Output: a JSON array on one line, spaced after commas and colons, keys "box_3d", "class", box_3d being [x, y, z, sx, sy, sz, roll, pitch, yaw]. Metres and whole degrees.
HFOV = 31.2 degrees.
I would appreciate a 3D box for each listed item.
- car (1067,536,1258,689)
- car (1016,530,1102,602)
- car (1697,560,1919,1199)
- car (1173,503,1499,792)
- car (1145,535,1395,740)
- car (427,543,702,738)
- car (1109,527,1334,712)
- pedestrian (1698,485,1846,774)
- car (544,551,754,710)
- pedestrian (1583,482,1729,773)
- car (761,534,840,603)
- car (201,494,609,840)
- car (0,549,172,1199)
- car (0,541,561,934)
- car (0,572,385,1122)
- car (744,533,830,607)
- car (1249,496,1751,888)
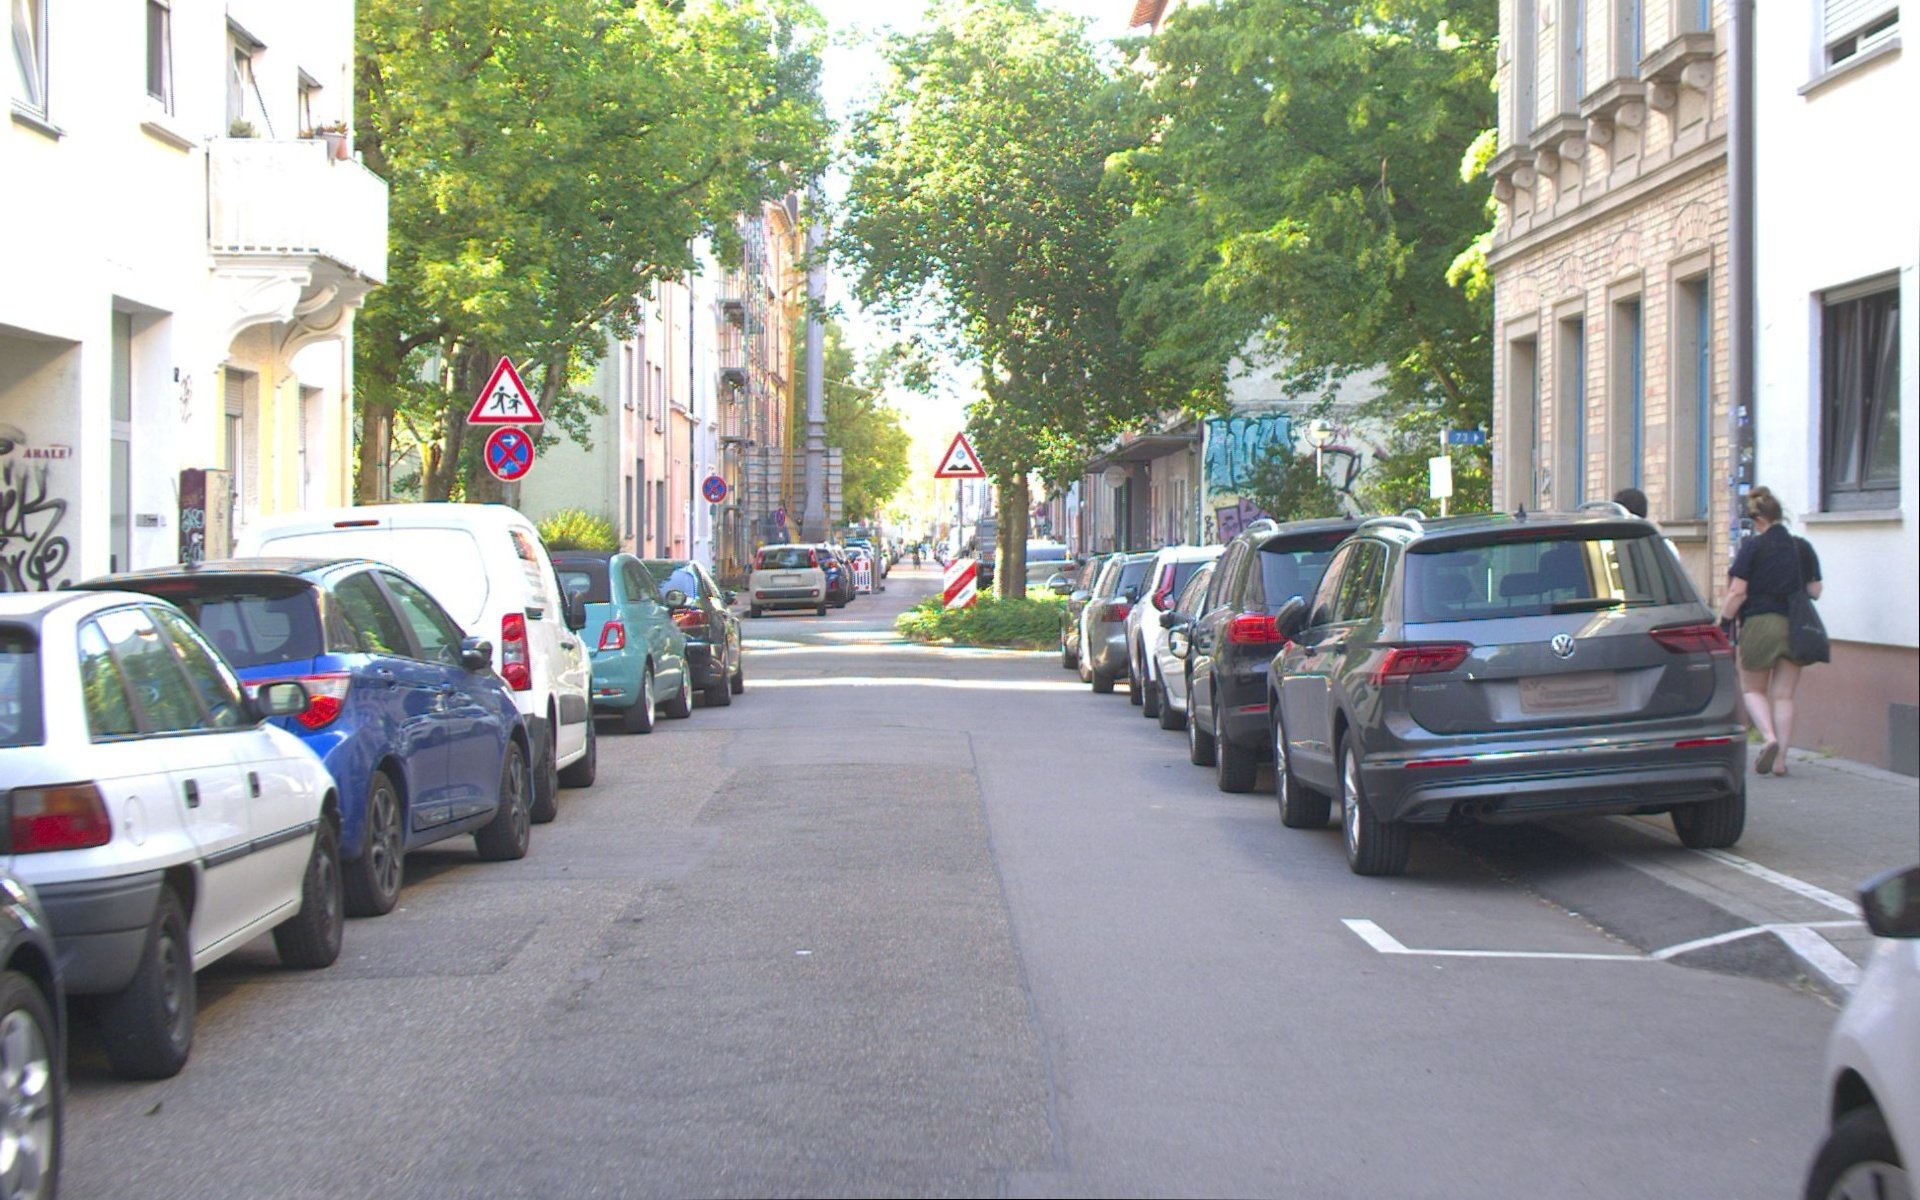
[{"box_3d": [2.100, 0.086, 36.589, 1.676, 1.482, 4.095, -2, 1, -1], "class": "car"}, {"box_3d": [2.152, -0.769, 75.486, 1.676, 1.482, 3.638, -2, 1, -1], "class": "car"}, {"box_3d": [2.388, 0.702, 5.018, 1.676, 1.501, 3.938, -2, 1, -1], "class": "car"}, {"box_3d": [2.361, 0.268, 22.461, 1.676, 1.676, 4.094, -2, 0, 1], "class": "car"}, {"box_3d": [2.414, 0.246, 27.473, 1.566, 1.478, 3.619, -2, 1, -1], "class": "car"}, {"box_3d": [-3.250, 0.285, 28.919, 1.670, 1.464, 3.820, -2, 1, 3], "class": "car"}, {"box_3d": [2.347, 0.127, 31.684, 1.676, 1.556, 3.796, -2, 1, -1], "class": "car"}, {"box_3d": [4.741, 0.161, 20.103, 0.685, 1.654, 0.717, -1, 1, -1], "class": "pedestrian"}, {"box_3d": [-2.926, 0.245, 33.039, 1.670, 1.356, 4.049, -2, 1, -1], "class": "car"}, {"box_3d": [4.028, 0.148, 19.940, 0.685, 1.654, 0.717, -1, 1, -1], "class": "pedestrian"}, {"box_3d": [-3.672, -0.748, 79.539, 1.676, 1.482, 4.095, -2, 1, -1], "class": "car"}, {"box_3d": [-3.132, 0.309, 20.157, 1.765, 1.779, 4.039, -2, 1, -1], "class": "car"}, {"box_3d": [-2.849, 0.701, 6.175, 1.743, 1.501, 4.346, -2, 1, 1], "class": "car"}, {"box_3d": [-3.042, 0.513, 15.511, 1.674, 1.481, 3.991, -1, 1, 5], "class": "car"}, {"box_3d": [-3.046, 0.653, 11.152, 1.673, 1.383, 4.182, -2, 1, -1], "class": "car"}, {"box_3d": [-3.705, -0.665, 74.118, 1.676, 1.482, 4.095, -2, 1, -1], "class": "car"}, {"box_3d": [2.556, 0.369, 17.256, 1.676, 1.621, 4.251, -4, 1, -1], "class": "car"}]
